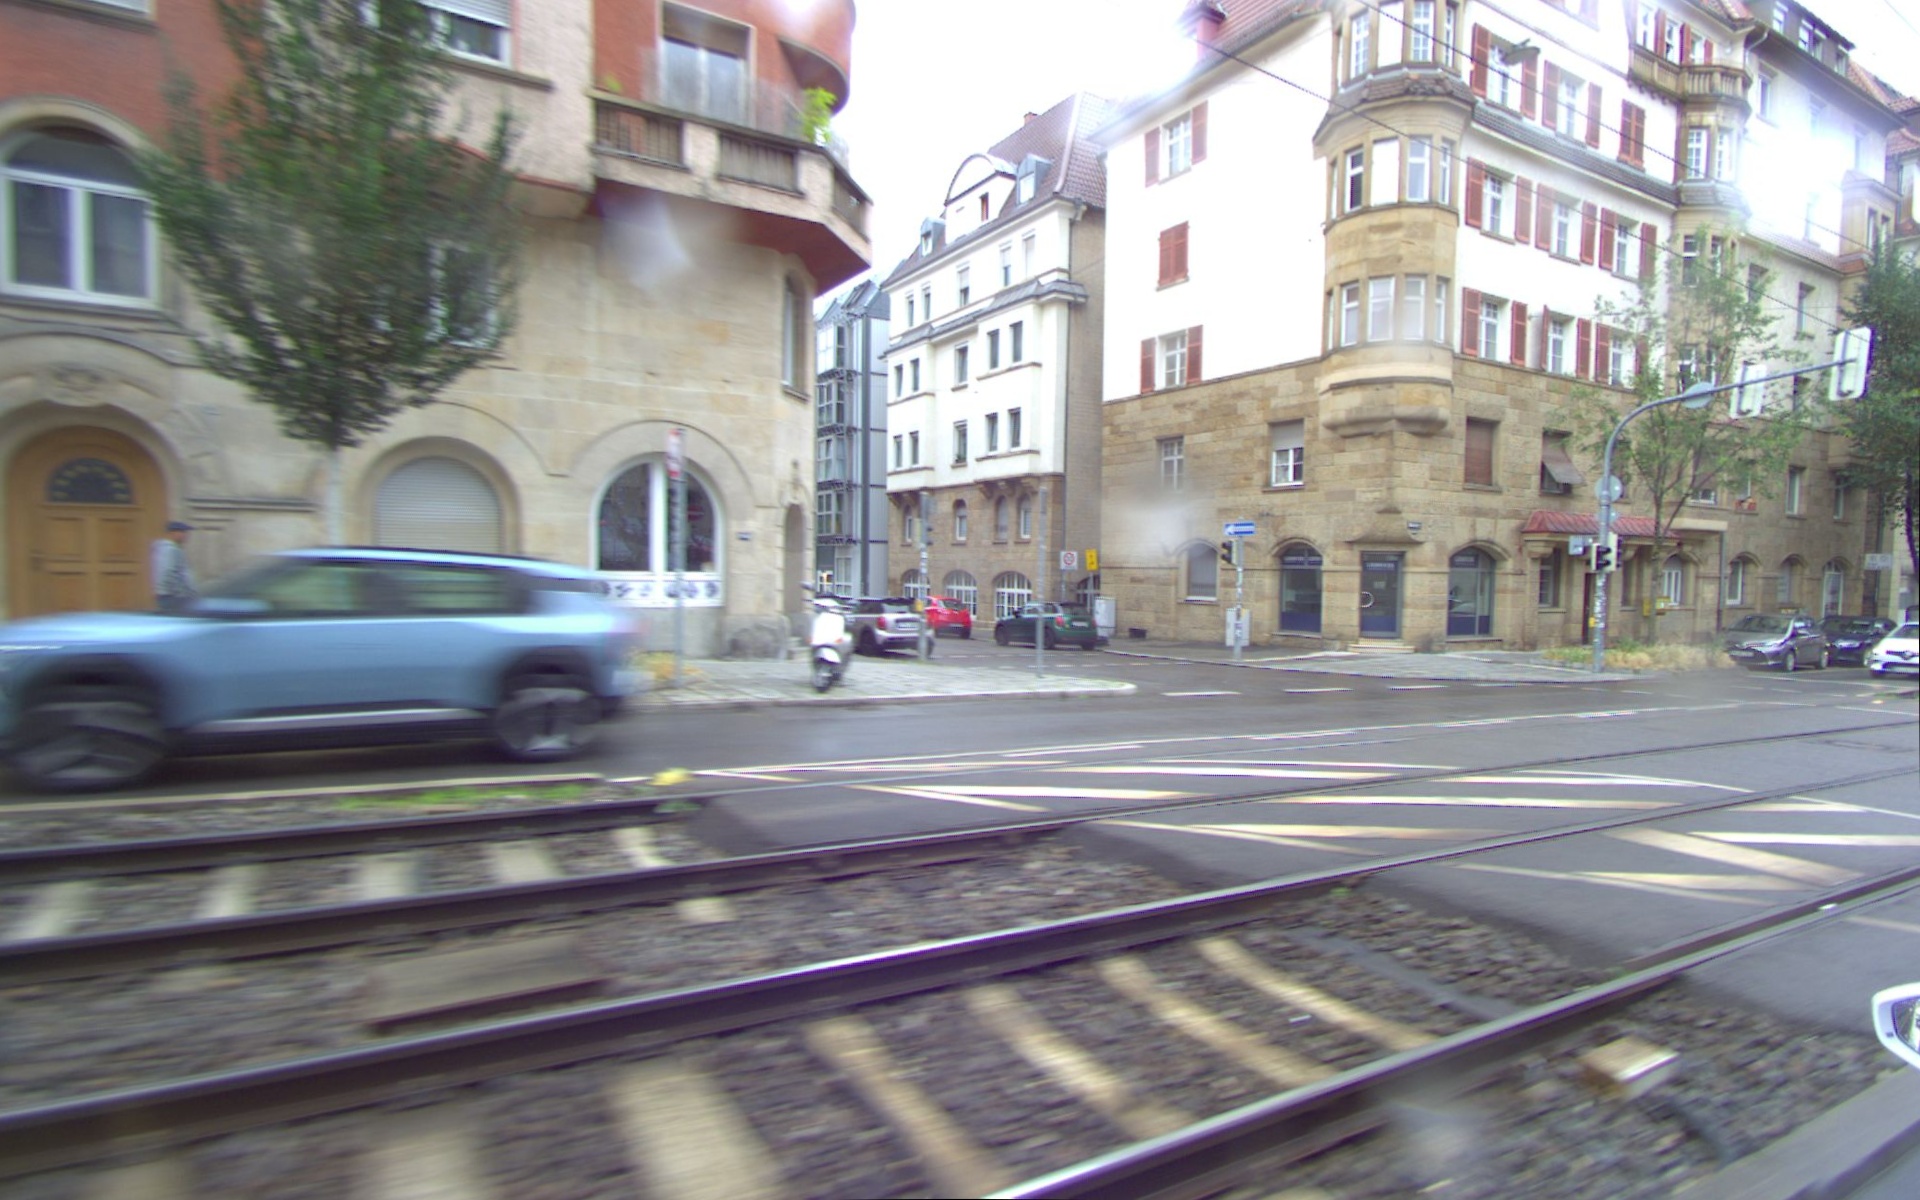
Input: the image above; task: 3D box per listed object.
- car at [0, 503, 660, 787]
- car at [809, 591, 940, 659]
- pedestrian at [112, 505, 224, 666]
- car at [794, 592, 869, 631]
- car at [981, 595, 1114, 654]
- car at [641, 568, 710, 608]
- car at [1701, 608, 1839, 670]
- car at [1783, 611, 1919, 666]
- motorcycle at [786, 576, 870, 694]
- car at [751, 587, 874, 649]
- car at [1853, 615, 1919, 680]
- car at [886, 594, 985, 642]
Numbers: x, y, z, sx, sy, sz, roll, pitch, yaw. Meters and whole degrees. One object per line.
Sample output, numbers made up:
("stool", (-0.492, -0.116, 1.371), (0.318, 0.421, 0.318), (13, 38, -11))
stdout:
("car", (-4.586, 0.310, 7.558), (4.084, 1.639, 1.910), (2, 0, -32))
("car", (-2.220, 0.582, 25.088), (1.727, 1.486, 3.968), (2, 0, -30))
("pedestrian", (-9.026, -0.165, 11.478), (0.882, 1.743, 0.713), (2, 6, -30))
("car", (-5.841, 0.483, 45.341), (1.977, 1.595, 3.968), (2, 0, -30))
("car", (2.576, 0.704, 30.545), (1.979, 1.595, 3.963), (2, 0, -33))
("car", (-12.484, -0.511, 43.892), (1.977, 1.595, 3.968), (2, 0, -30))
("car", (22.178, 1.078, 27.473), (4.130, 1.549, 1.680), (2, 0, -33))
("car", (26.893, 1.182, 30.288), (4.924, 1.479, 1.771), (2, 0, -33))
("motorcycle", (-1.670, 0.431, 13.005), (0.752, 1.393, 1.785), (2, 0, 1))
("car", (-4.339, 0.492, 29.059), (1.980, 1.595, 3.962), (2, 0, -34))
("car", (24.539, 1.225, 25.471), (4.018, 1.522, 1.771), (2, 0, -33))
("car", (-0.971, 0.618, 37.066), (1.977, 1.595, 3.968), (2, 0, -30))
